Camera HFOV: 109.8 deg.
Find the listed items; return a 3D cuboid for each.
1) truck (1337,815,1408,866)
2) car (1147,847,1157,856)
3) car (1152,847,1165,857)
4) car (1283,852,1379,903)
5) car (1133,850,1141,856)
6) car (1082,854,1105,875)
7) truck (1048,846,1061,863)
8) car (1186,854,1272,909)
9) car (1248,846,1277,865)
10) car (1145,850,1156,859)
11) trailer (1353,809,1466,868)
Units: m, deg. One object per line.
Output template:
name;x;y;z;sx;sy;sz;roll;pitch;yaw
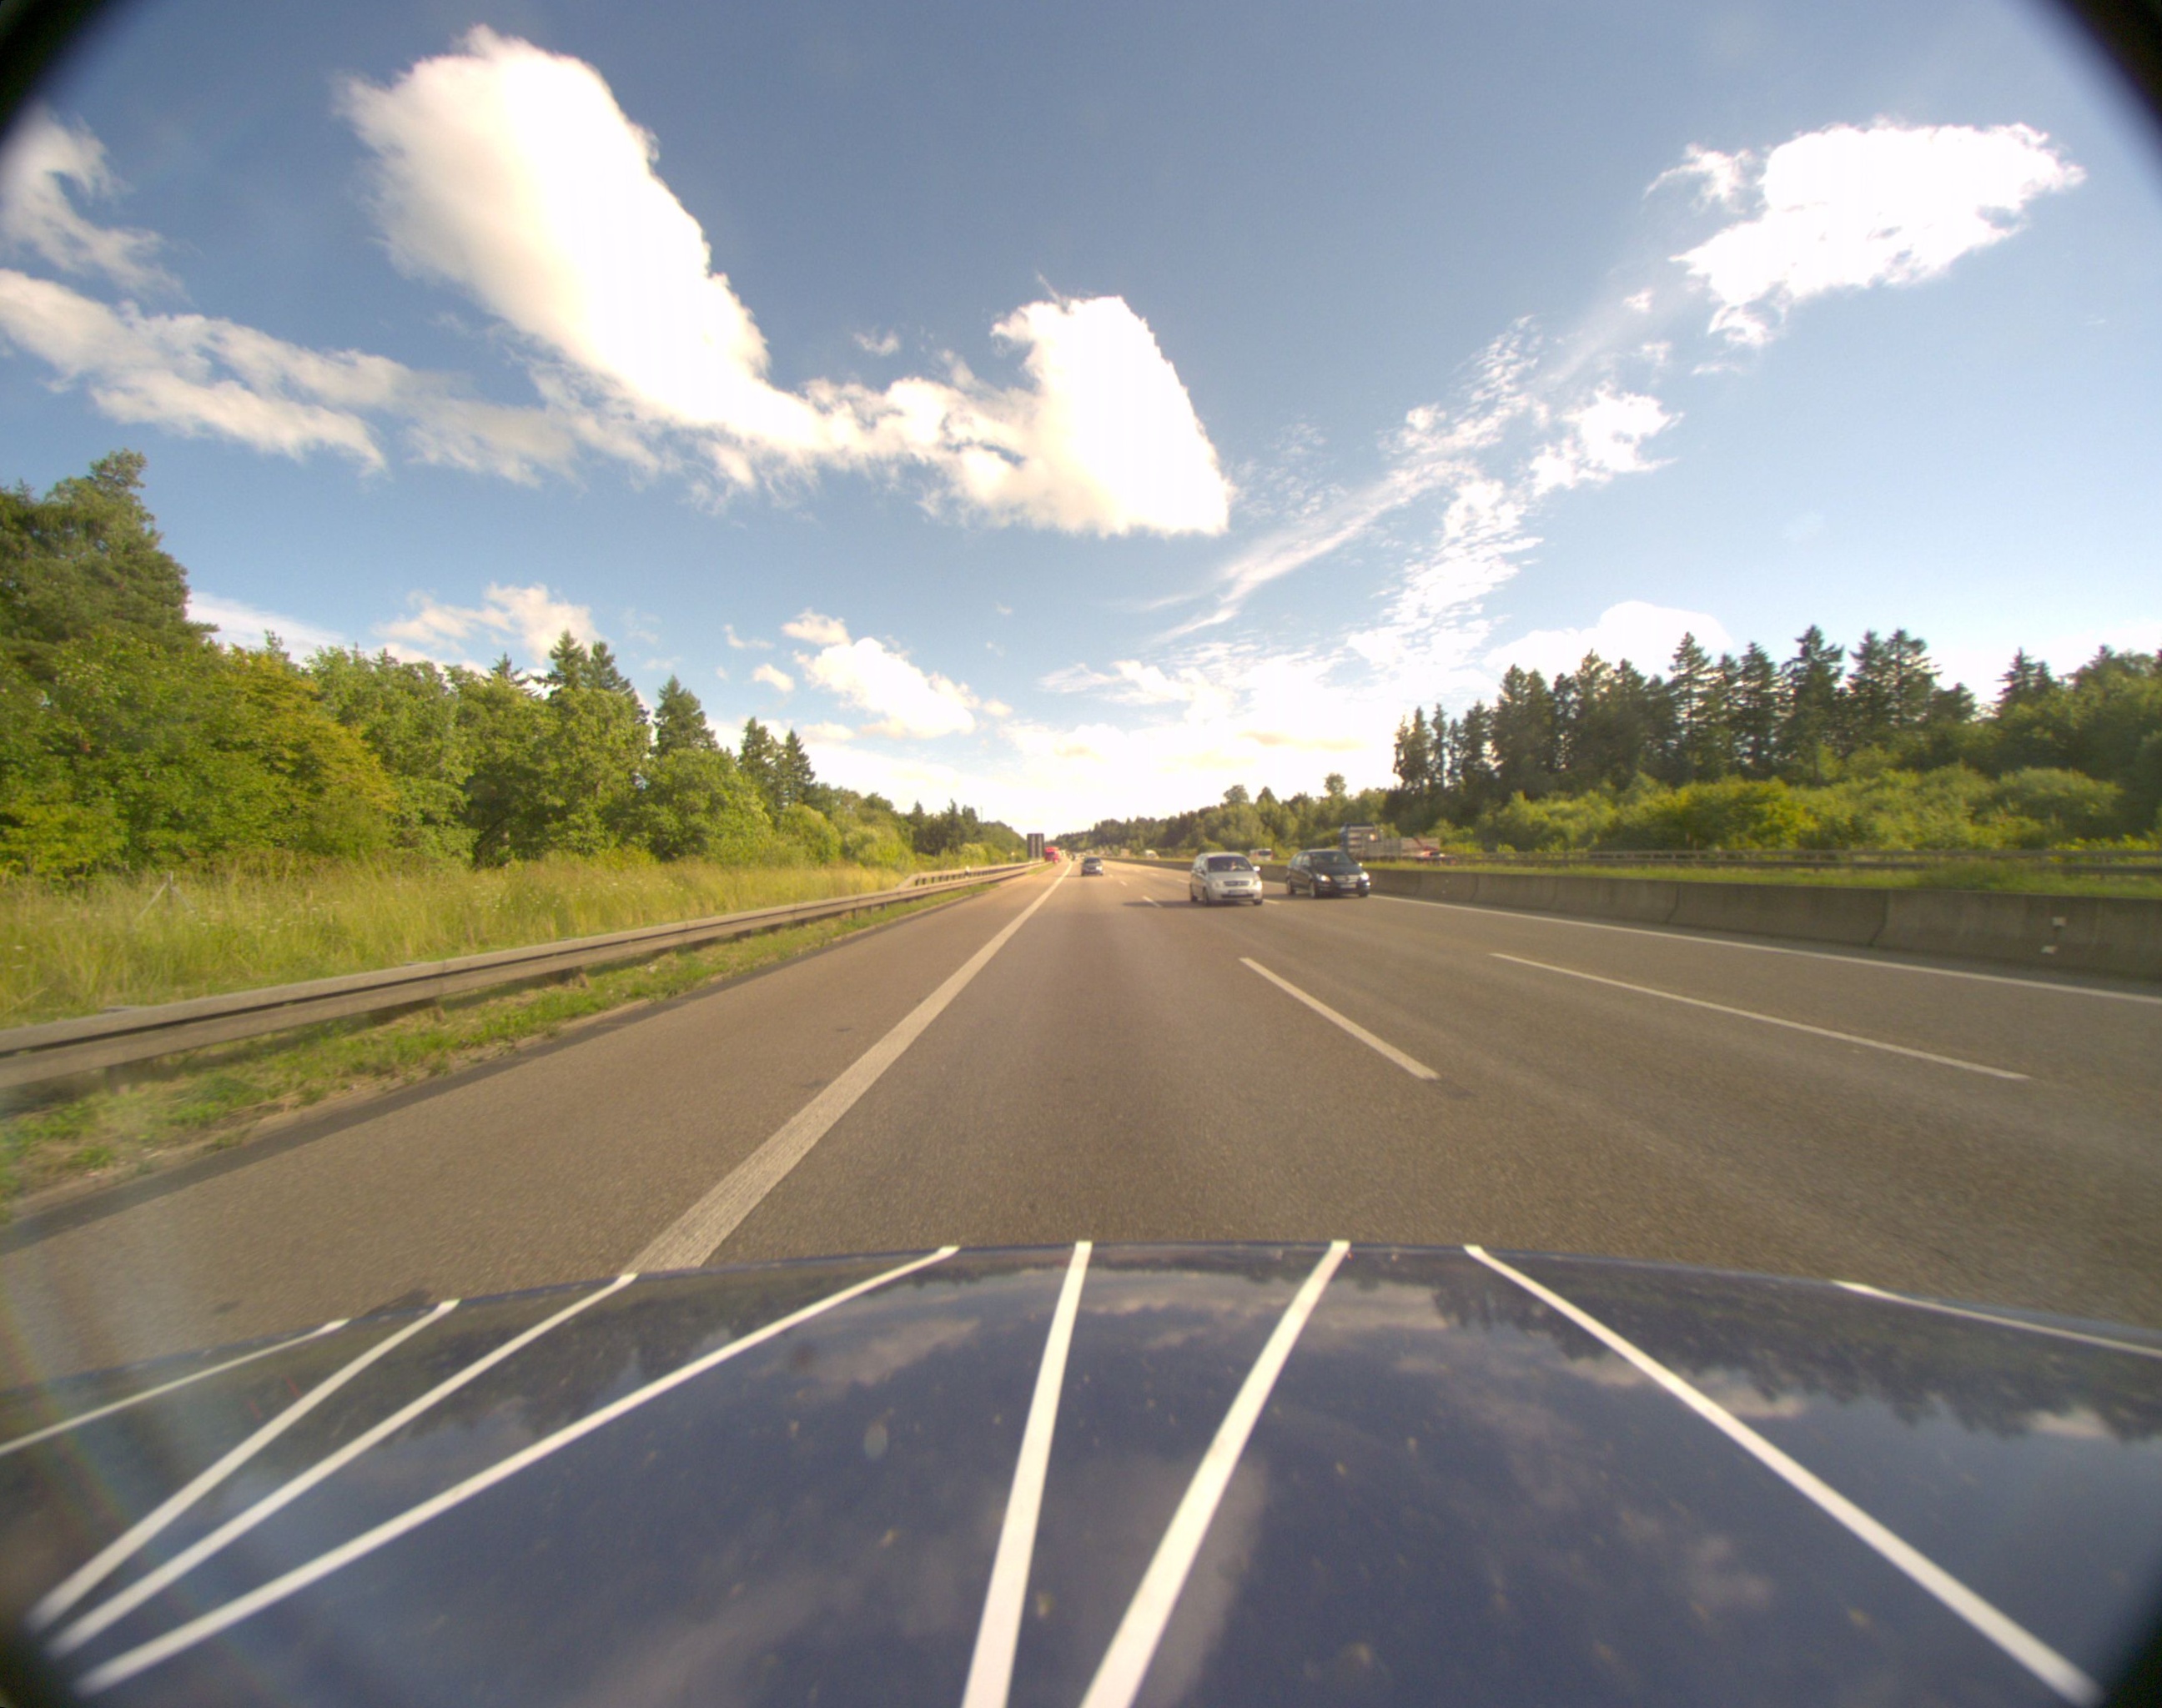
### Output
truck;23.952;-1.057;62.793;3.122;3.815;7.123;-2;0;0
car;18.456;-0.623;198.199;2.102;2.262;5.446;-4;0;0
car;15.993;-0.356;157.893;2.102;1.914;5.283;-4;0;0
car;8.295;0.724;25.622;1.840;1.508;4.333;-2;0;1
car;19.638;-0.270;266.604;2.325;2.024;5.031;-2;0;0
car;1.029;0.811;61.761;1.742;1.608;4.083;-2;0;1
truck;-6.473;0.079;186.601;2.880;3.871;8.958;-2;0;0
car;4.498;0.788;23.714;1.840;1.508;4.333;-2;0;1
car;19.927;0.147;83.656;1.998;2.002;4.859;-2;0;1
car;22.139;0.094;242.316;2.550;2.461;5.844;-4;0;0
trailer;23.897;-1.034;56.281;3.132;3.815;12.209;-2;0;0
